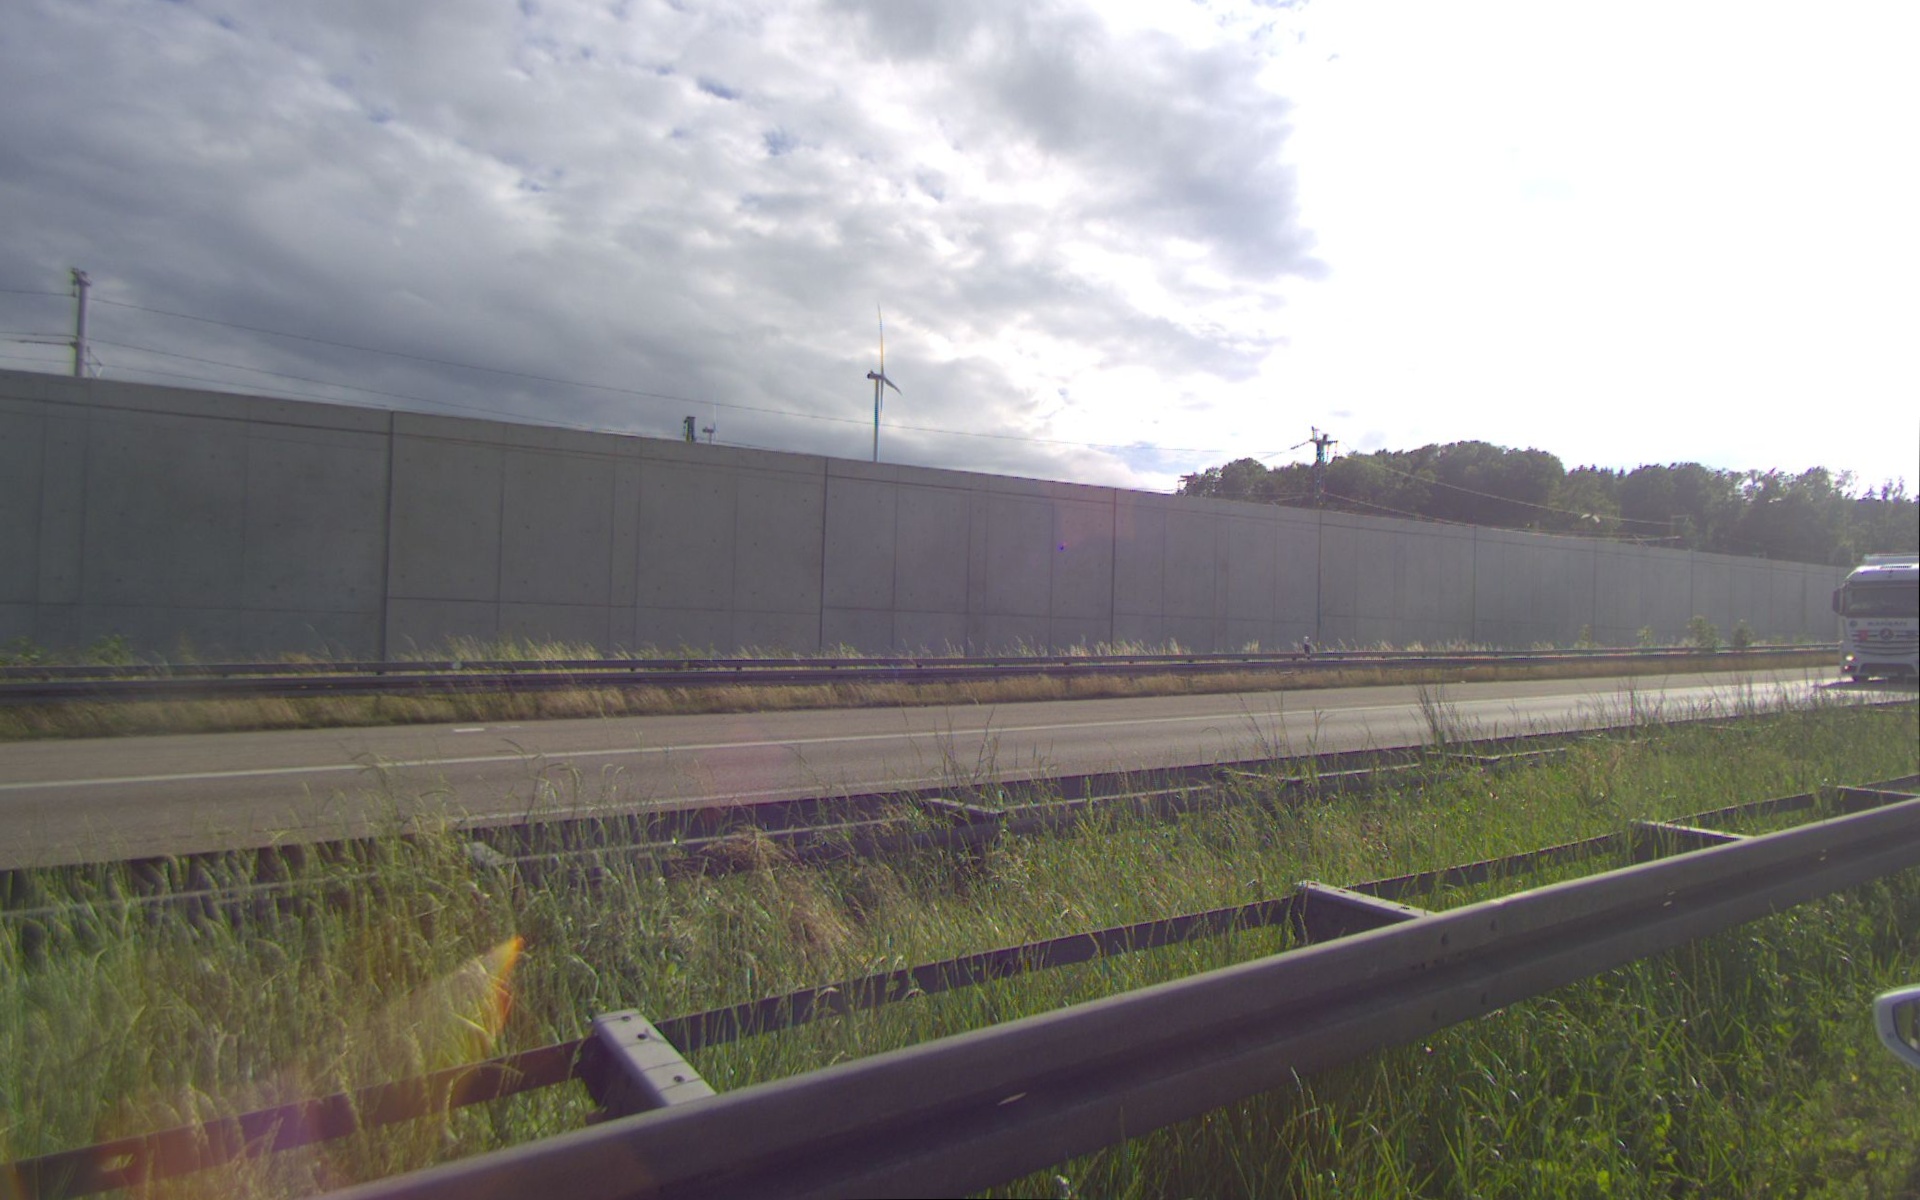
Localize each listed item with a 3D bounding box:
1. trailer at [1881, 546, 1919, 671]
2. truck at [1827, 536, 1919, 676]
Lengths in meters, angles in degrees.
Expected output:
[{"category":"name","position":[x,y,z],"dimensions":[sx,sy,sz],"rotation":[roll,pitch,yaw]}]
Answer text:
[{"category":"trailer","position":[37.140,0.460,36.289],"dimensions":[12.264,4.135,2.638],"rotation":[2,0,-33]},{"category":"truck","position":[30.884,0.269,32.292],"dimensions":[6.926,4.152,2.623],"rotation":[2,0,-32]}]
